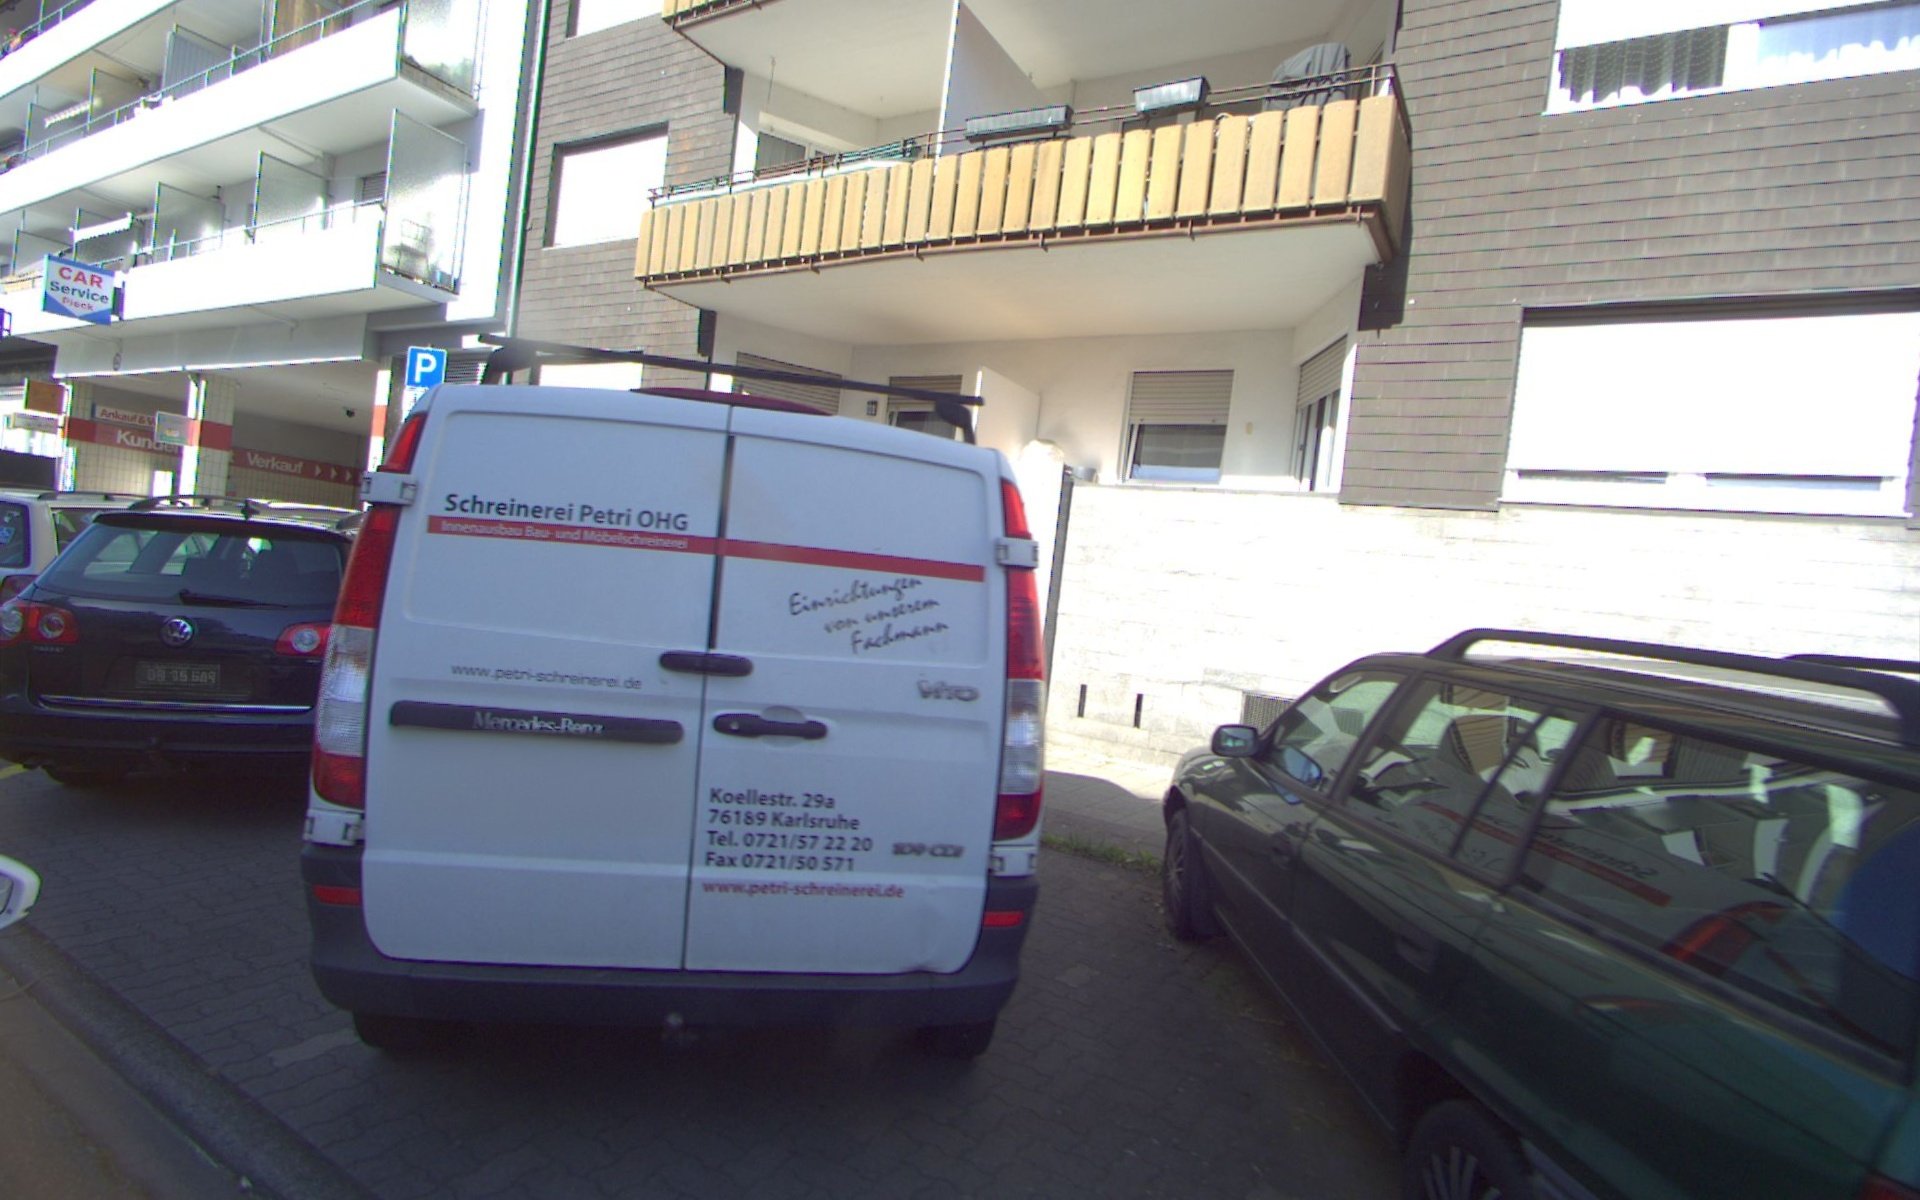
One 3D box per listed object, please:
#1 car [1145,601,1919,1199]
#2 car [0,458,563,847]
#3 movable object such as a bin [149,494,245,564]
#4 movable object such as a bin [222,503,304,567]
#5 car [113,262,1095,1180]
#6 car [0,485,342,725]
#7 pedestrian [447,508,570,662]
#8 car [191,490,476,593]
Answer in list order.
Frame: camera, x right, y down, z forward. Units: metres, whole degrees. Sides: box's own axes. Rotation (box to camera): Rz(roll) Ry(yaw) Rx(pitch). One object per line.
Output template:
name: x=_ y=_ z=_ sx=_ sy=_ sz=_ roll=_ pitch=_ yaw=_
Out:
car: x=1.745 y=0.877 z=2.940 sx=1.586 sy=1.509 sz=3.993 roll=4 pitch=2 yaw=0
car: x=-3.834 y=0.193 z=6.338 sx=1.728 sy=1.532 sz=4.315 roll=5 pitch=0 yaw=-13
movable object such as a bin: x=-18.963 y=-1.762 z=25.016 sx=1.244 sy=1.518 sz=1.464 roll=4 pitch=-1 yaw=31
movable object such as a bin: x=-18.173 y=-1.681 z=26.254 sx=1.143 sy=1.484 sz=1.331 roll=4 pitch=-1 yaw=32
car: x=-1.081 y=0.258 z=4.483 sx=2.014 sy=1.923 sz=4.519 roll=4 pitch=2 yaw=-9
car: x=-7.084 y=-0.085 z=8.364 sx=1.662 sy=1.484 sz=4.637 roll=5 pitch=0 yaw=-11
pedestrian: x=-5.095 y=-0.161 z=11.362 sx=0.875 sy=1.614 sz=0.832 roll=7 pitch=2 yaw=37
car: x=-12.390 y=-1.109 z=20.202 sx=1.946 sy=1.532 sz=4.394 roll=6 pitch=0 yaw=31
